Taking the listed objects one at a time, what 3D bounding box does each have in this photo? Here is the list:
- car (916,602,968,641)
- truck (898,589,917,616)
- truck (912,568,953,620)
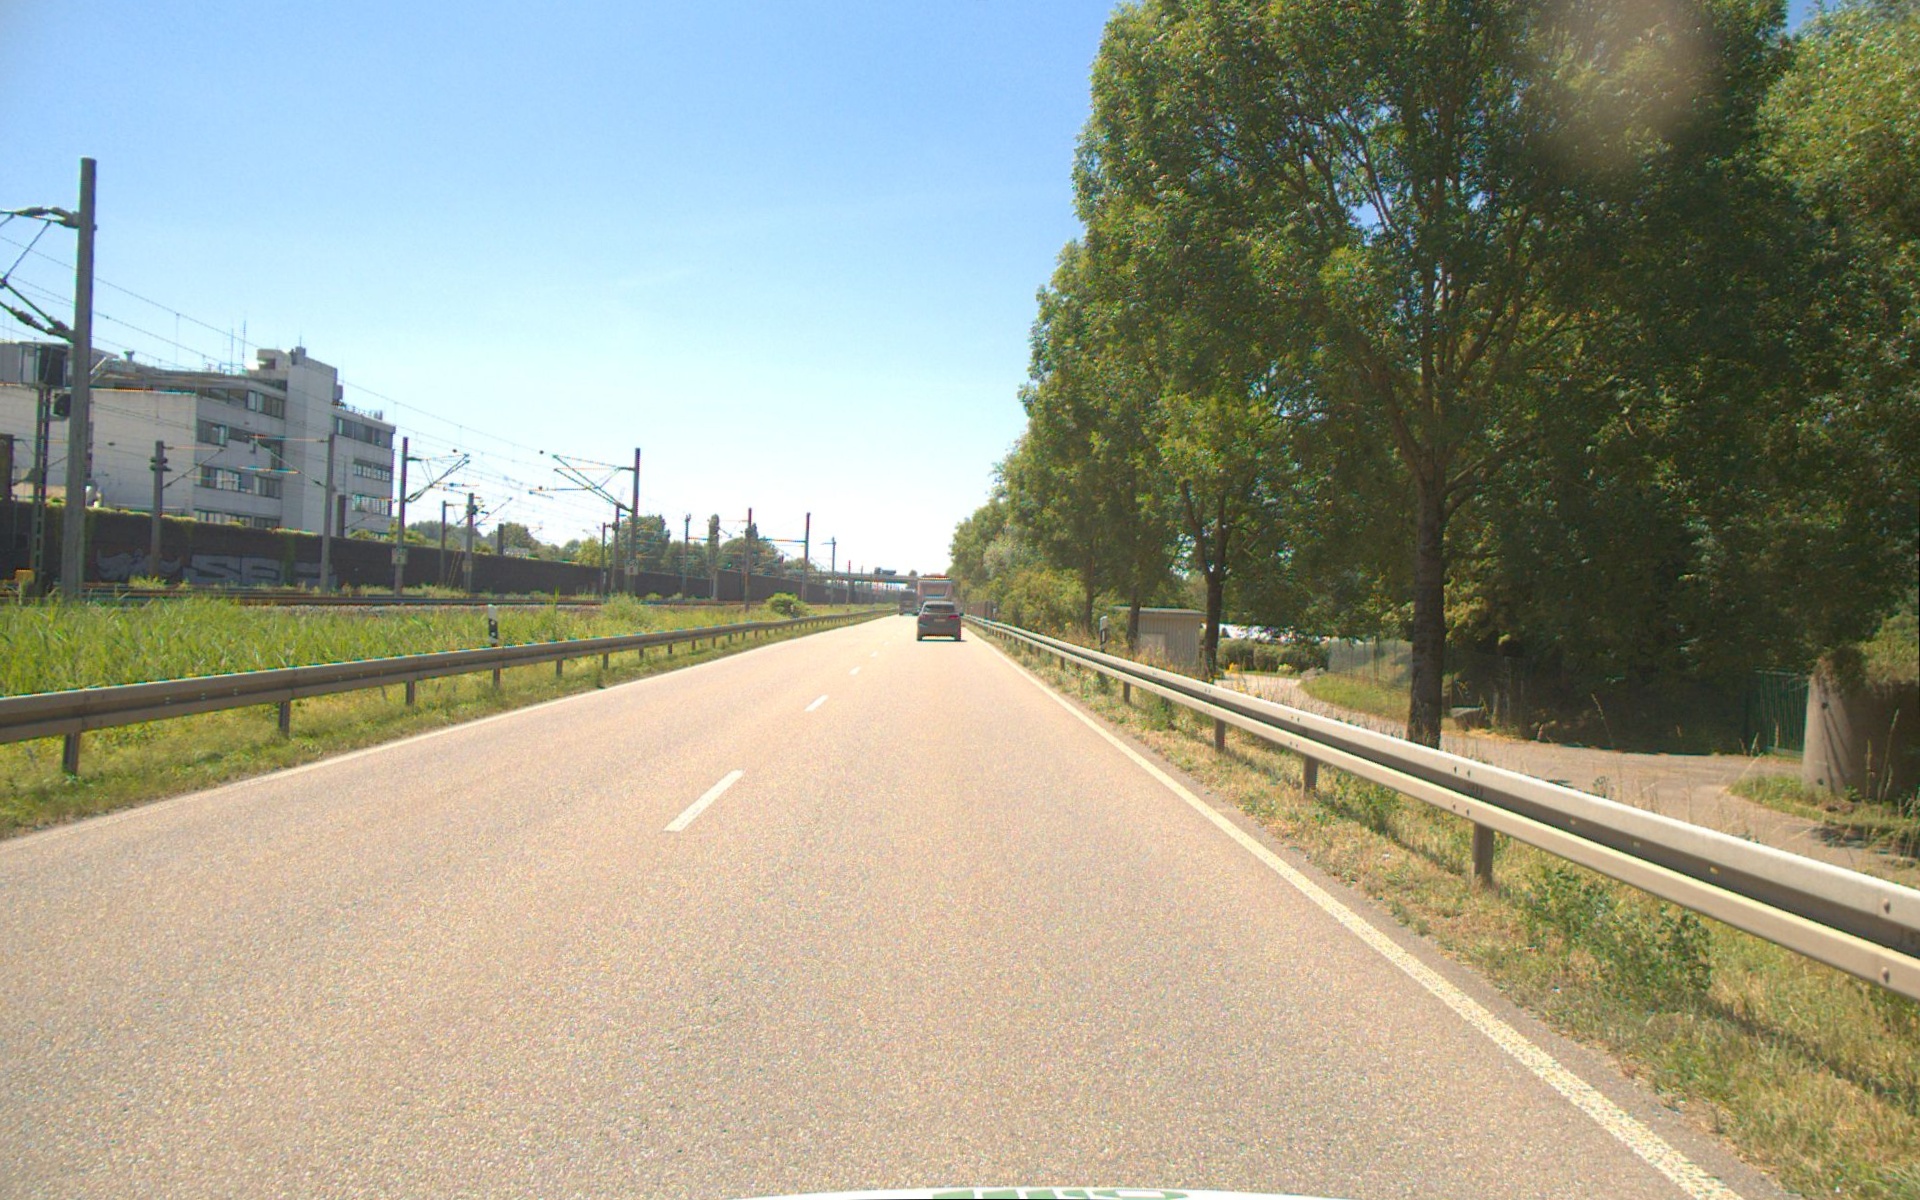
[{"bbox_3d":[-0.767,0.847,67.202,1.954,1.534,3.998,1,0,-3],"label":"car"},{"bbox_3d":[-7.470,0.318,234.909,2.604,3.690,10.973,1,0,-2],"label":"truck"},{"bbox_3d":[-1.988,-0.383,119.075,2.714,3.485,10.817,1,0,-1],"label":"truck"}]
